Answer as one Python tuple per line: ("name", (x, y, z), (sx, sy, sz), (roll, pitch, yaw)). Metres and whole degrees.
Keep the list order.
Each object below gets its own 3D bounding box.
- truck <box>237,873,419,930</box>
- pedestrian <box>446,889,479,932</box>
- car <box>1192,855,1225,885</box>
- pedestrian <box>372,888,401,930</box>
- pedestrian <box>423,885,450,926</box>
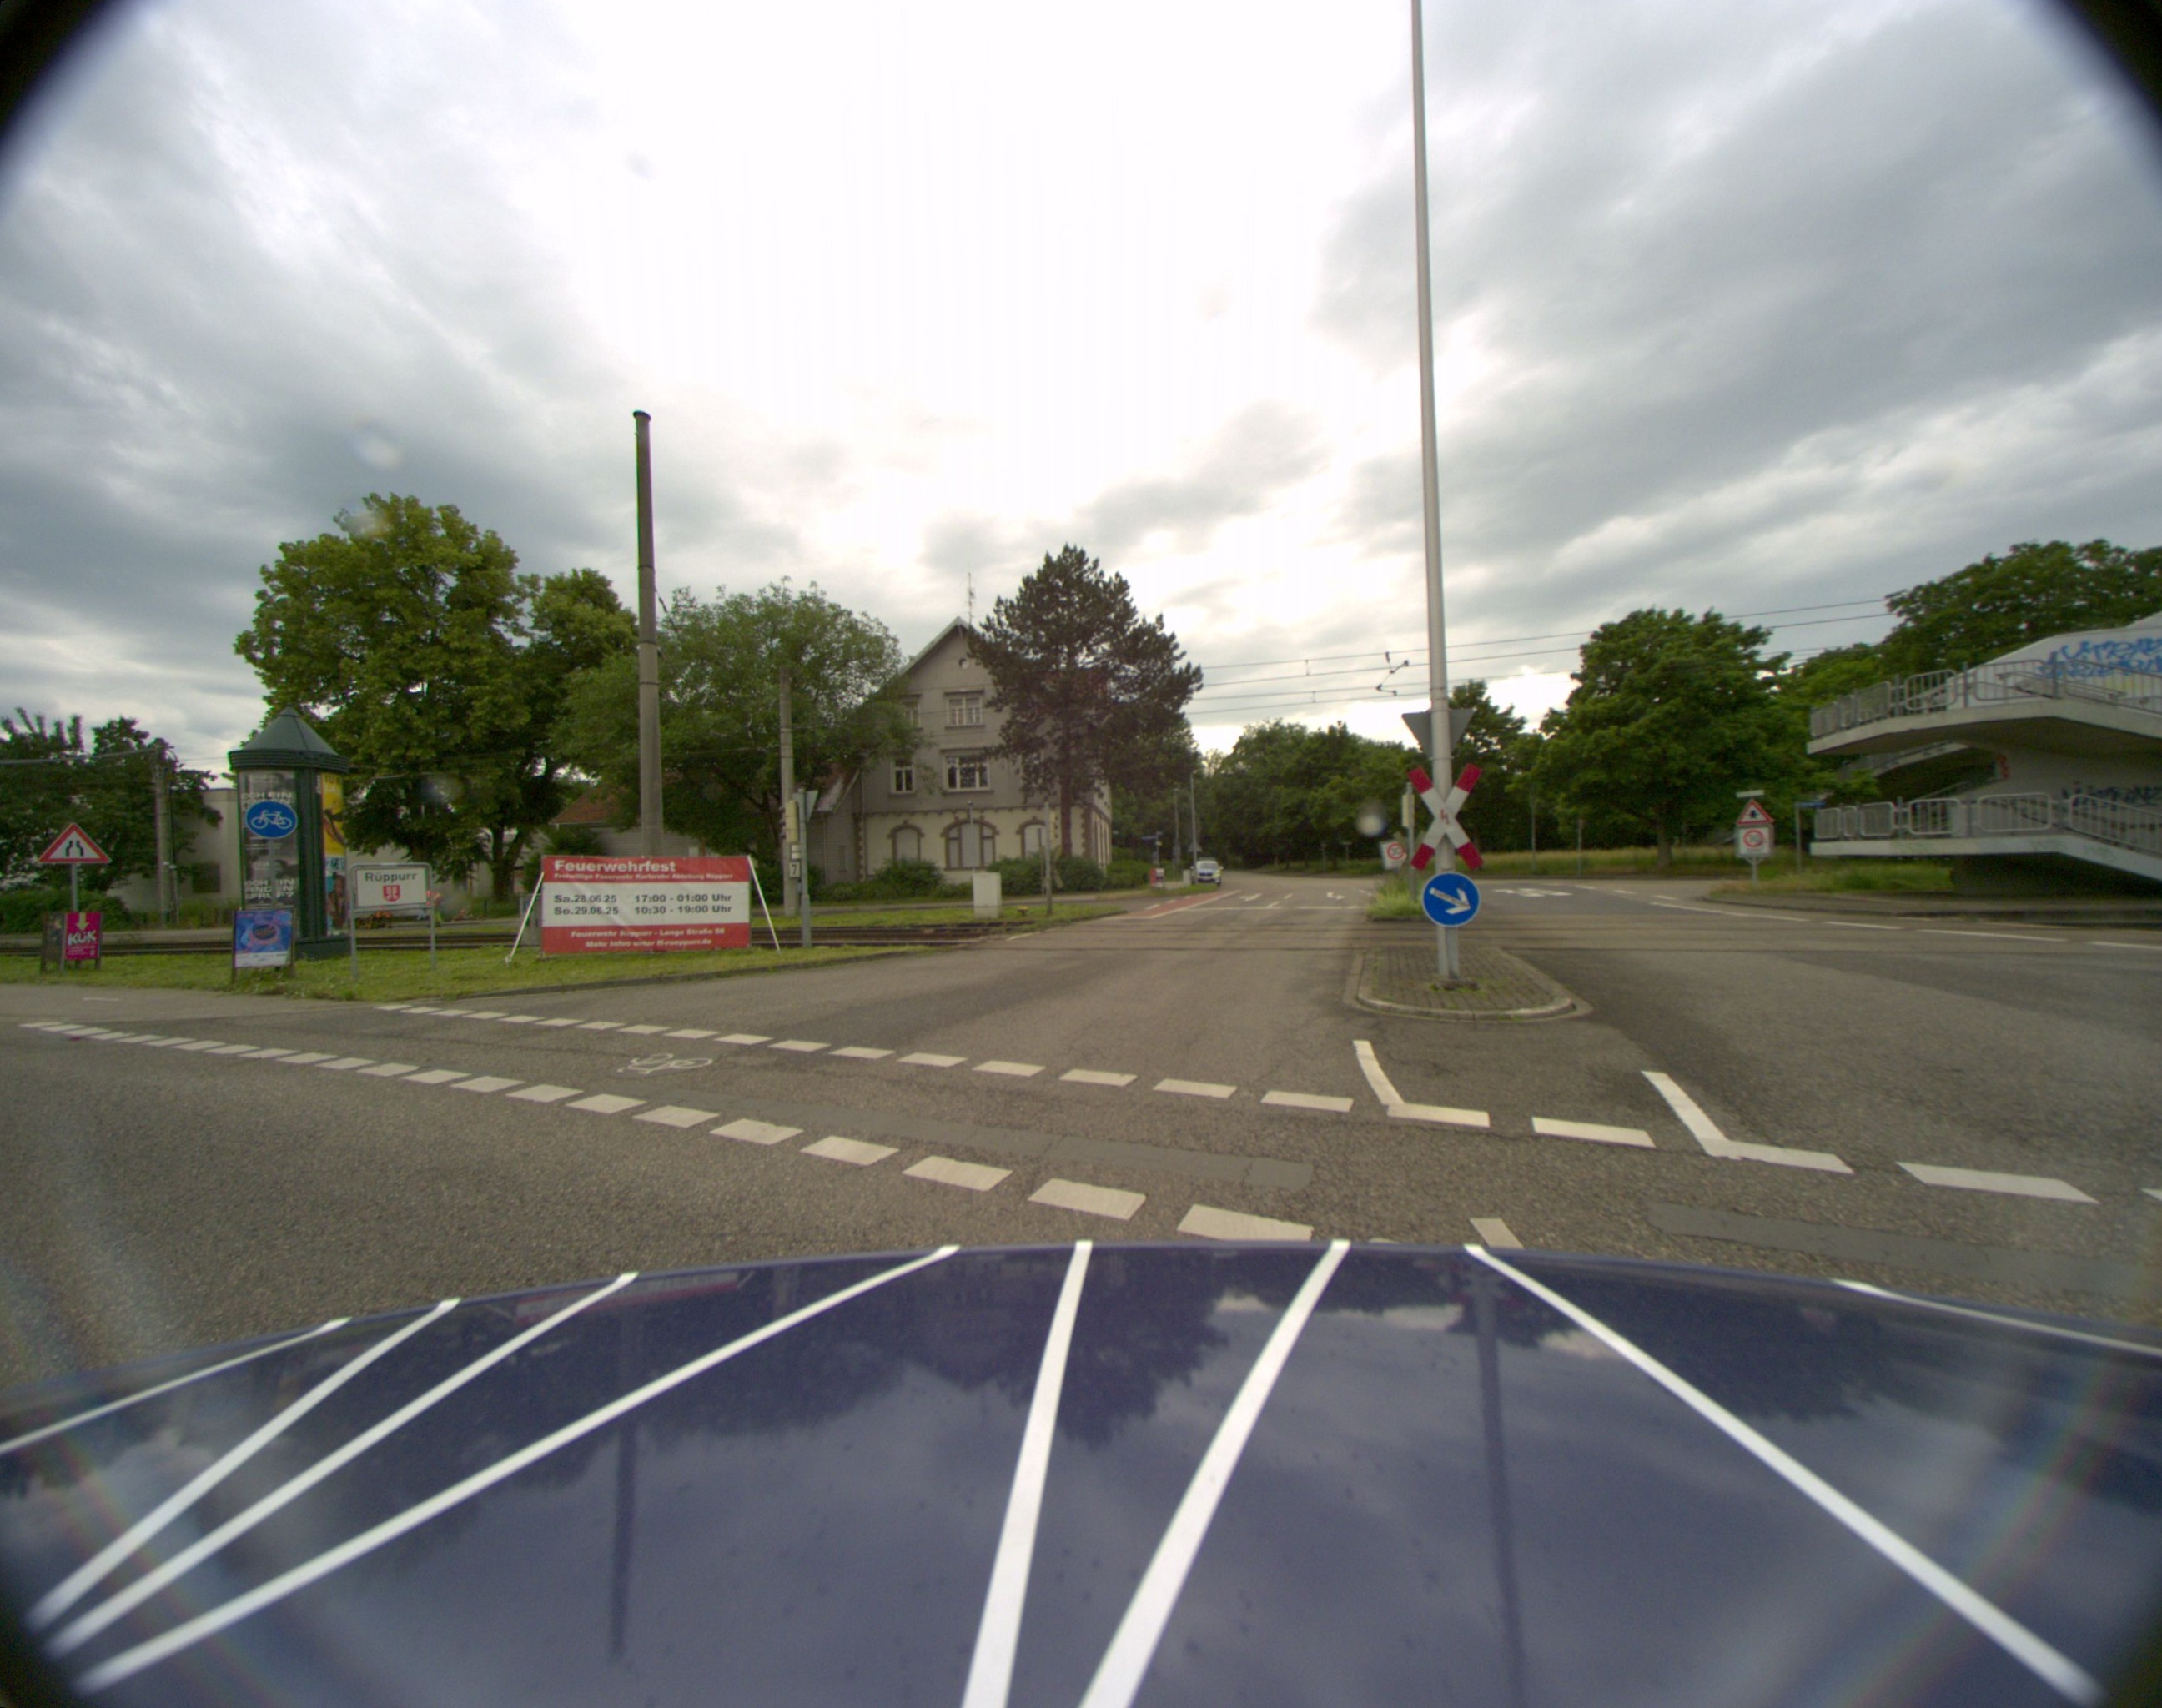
("truck", (-34.352, 2.133, 34.757), (6.401, 2.280, 2.607), (-2, 0, 10))
("pedestrian", (-27.250, 2.497, 33.492), (0.678, 1.843, 0.875), (-2, -1, 22))
("car", (8.251, 0.994, 49.406), (1.934, 1.839, 4.002), (0, 0, 7))
("pedestrian", (-30.155, 2.369, 32.997), (0.575, 1.752, 0.636), (-2, 0, -1))
("pedestrian", (-28.343, 2.264, 33.429), (0.575, 1.752, 0.636), (-2, 0, -1))
